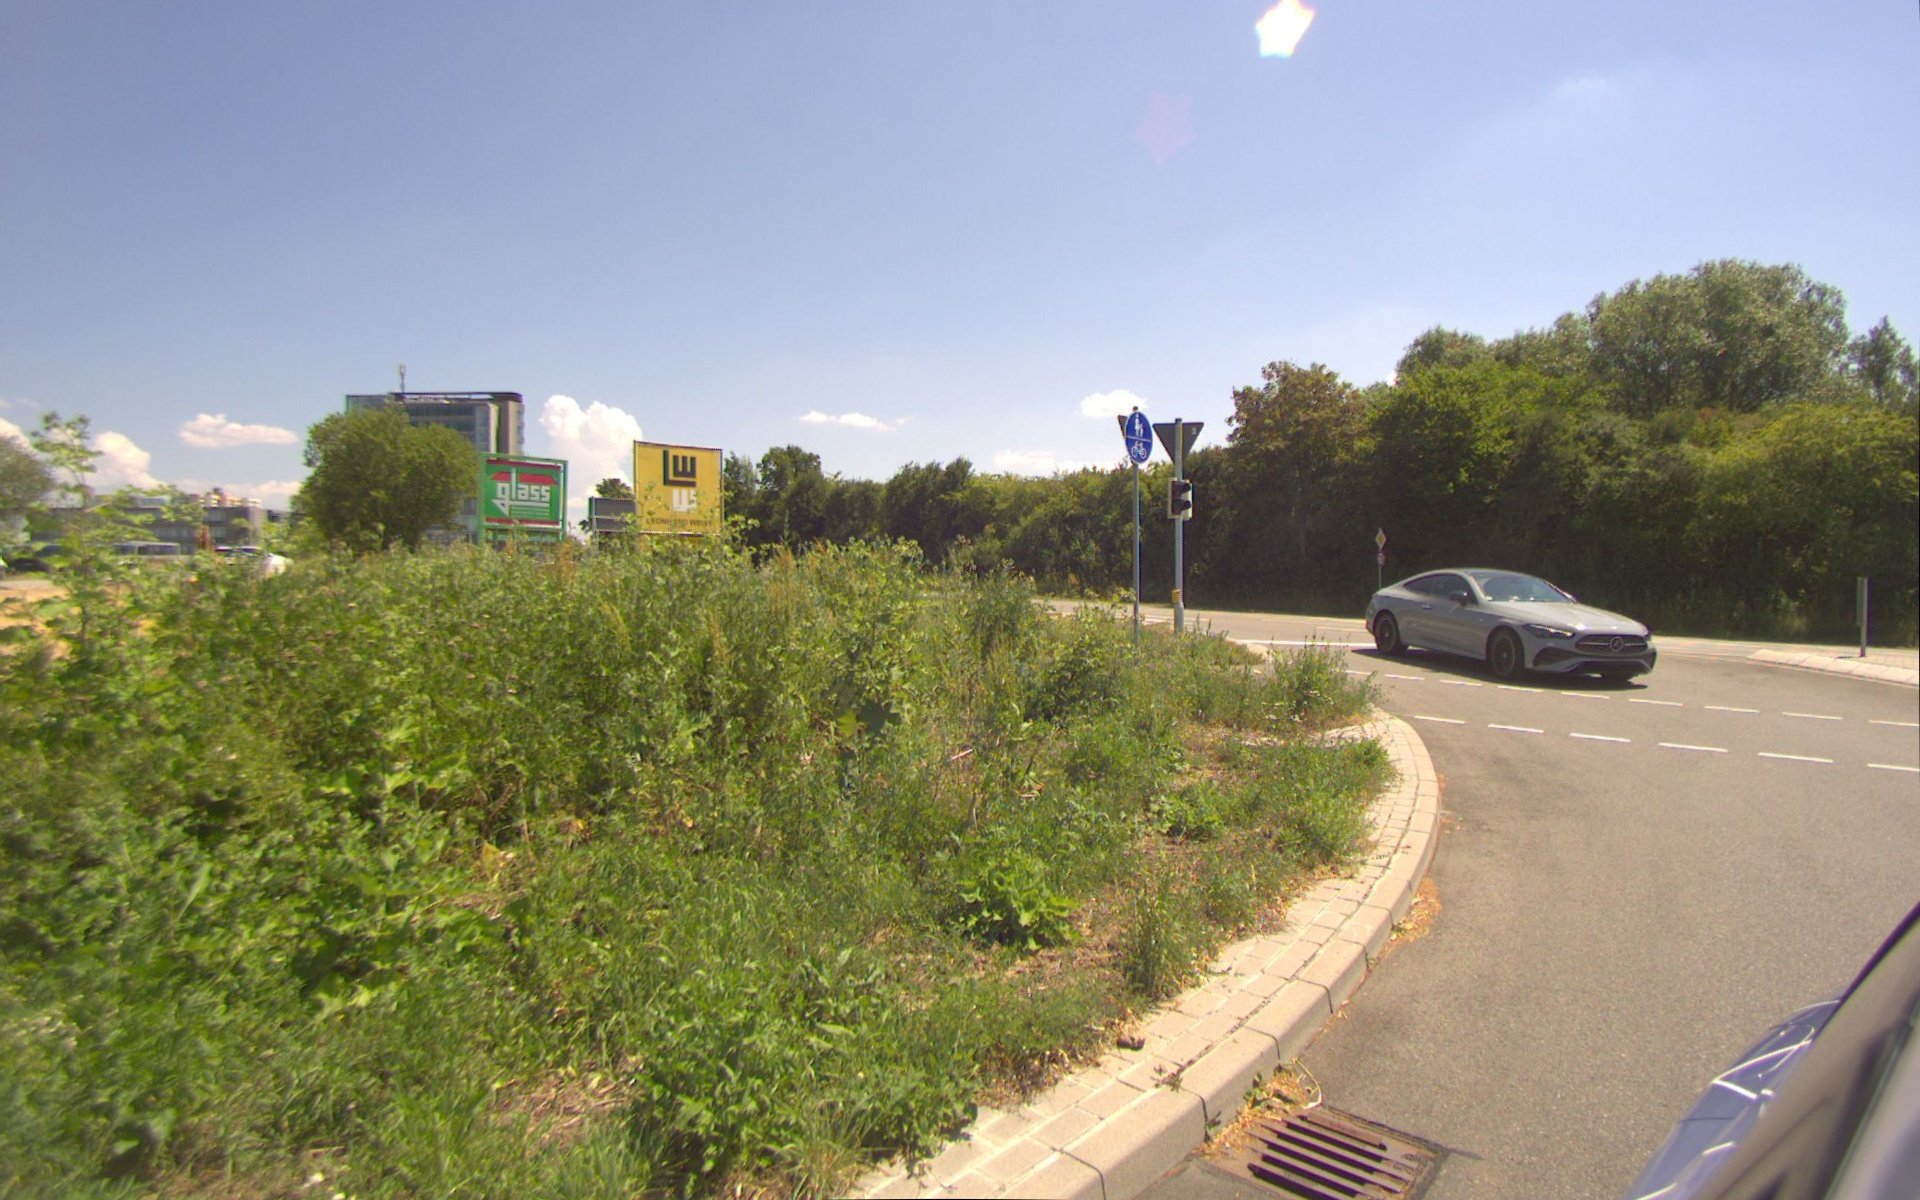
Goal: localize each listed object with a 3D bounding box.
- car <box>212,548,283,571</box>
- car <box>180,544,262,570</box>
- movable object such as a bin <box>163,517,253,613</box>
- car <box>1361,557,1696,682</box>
[{"bbox_3d":[-49.596,-2.831,70.555,3.922,1.548,1.877,-2,2,-32],"label":"car"},{"bbox_3d":[-45.945,-2.692,63.021,3.922,1.548,1.877,-2,2,-32],"label":"car"},{"bbox_3d":[-35.139,-1.741,47.532,2.930,4.094,8.111,1,3,-34],"label":"movable object such as a bin"},{"bbox_3d":[7.981,0.157,14.842,1.884,1.459,4.491,1,3,-8],"label":"car"}]
